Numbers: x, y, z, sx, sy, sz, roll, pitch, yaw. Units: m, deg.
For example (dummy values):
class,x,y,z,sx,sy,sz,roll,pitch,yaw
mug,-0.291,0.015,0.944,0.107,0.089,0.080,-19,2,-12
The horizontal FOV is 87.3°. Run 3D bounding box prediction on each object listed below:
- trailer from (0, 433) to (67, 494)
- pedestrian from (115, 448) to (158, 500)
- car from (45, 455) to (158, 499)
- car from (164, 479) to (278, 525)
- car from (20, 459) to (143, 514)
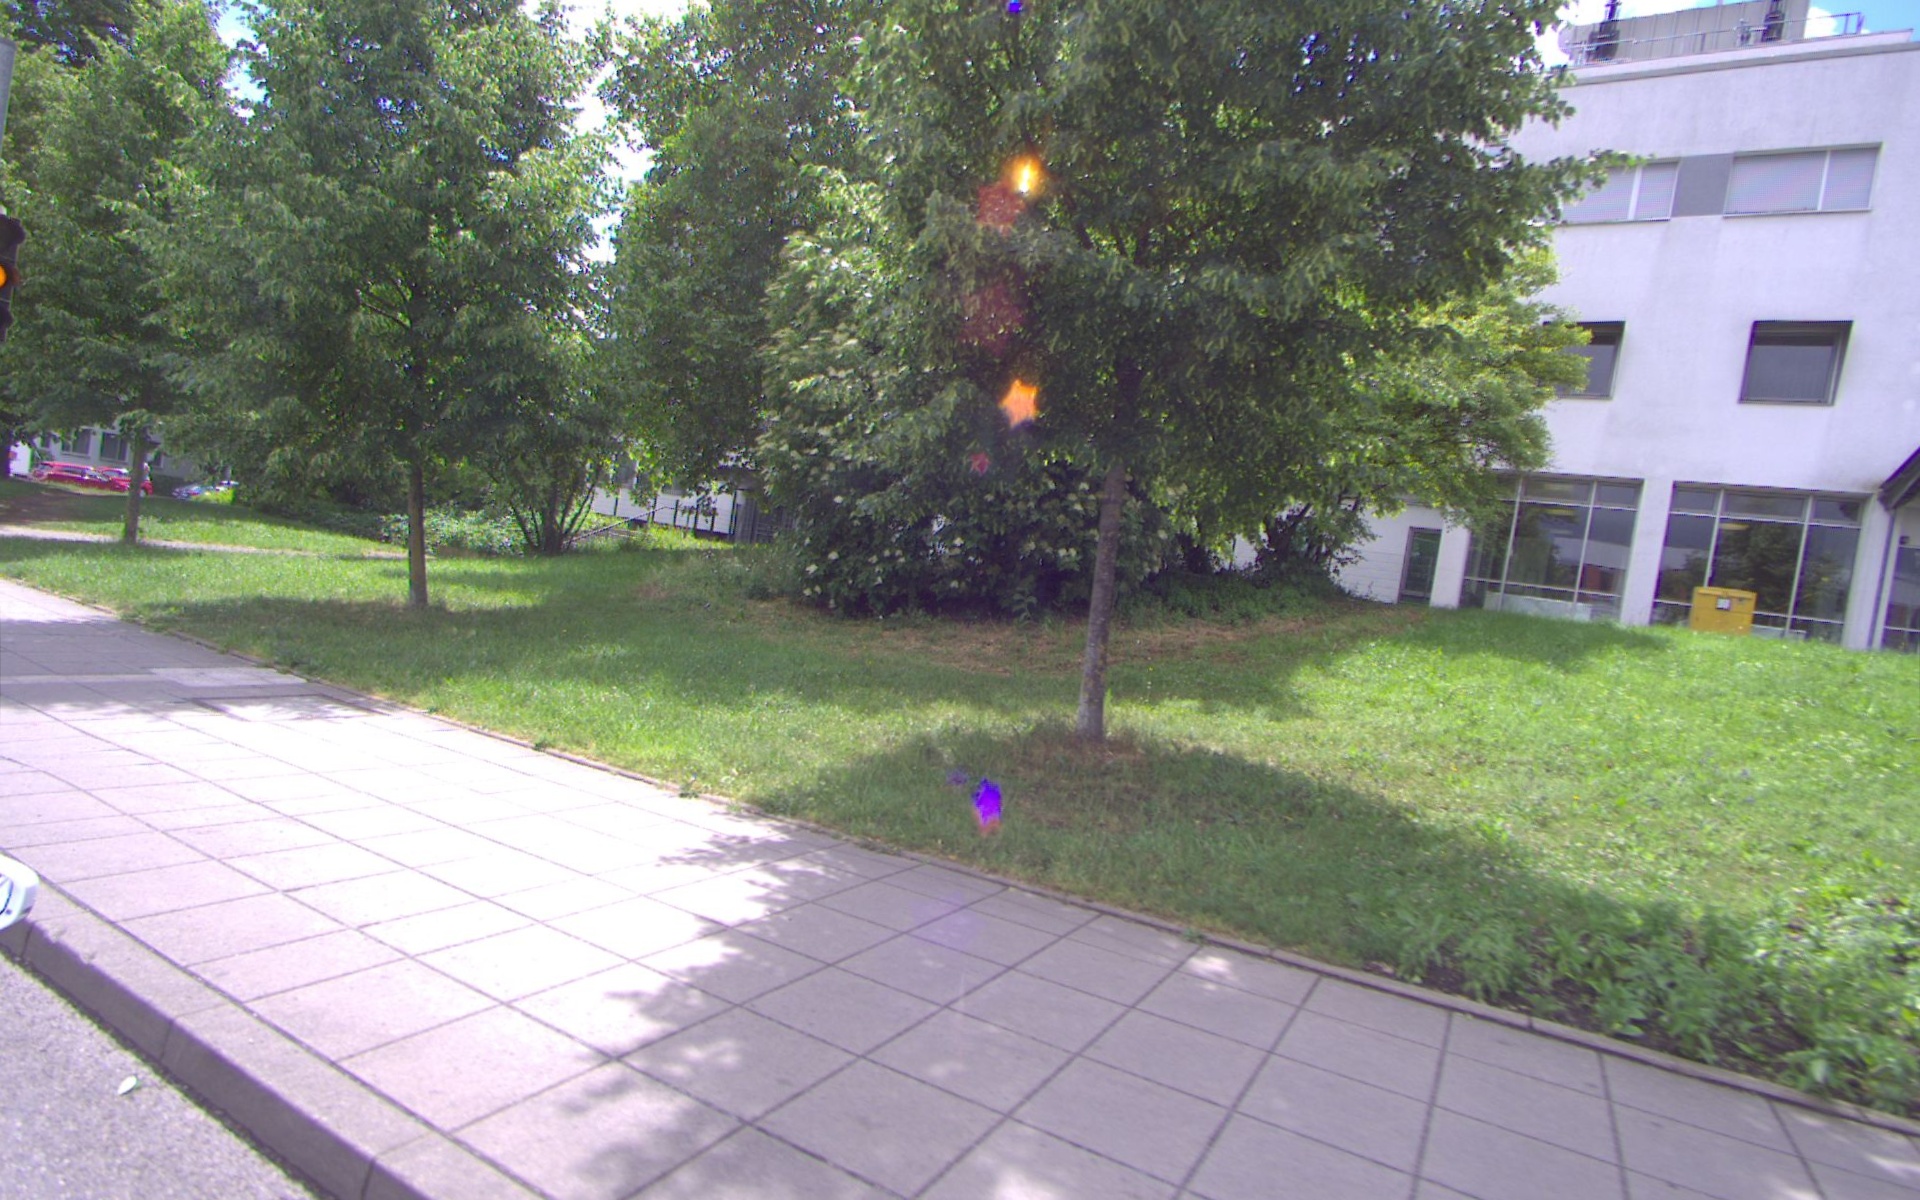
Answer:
class,x,y,z,sx,sy,sz,roll,pitch,yaw
trailer,-47.764,-7.022,49.881,2.182,2.517,4.548,10,1,27
pedestrian,-31.047,-4.743,37.941,0.845,1.782,0.985,8,1,39
car,-45.826,-6.532,53.791,1.965,1.521,4.088,10,2,27
car,-37.403,-4.935,51.027,1.964,1.579,4.088,9,1,25
car,-39.930,-5.138,45.829,1.797,1.663,3.696,10,1,26
